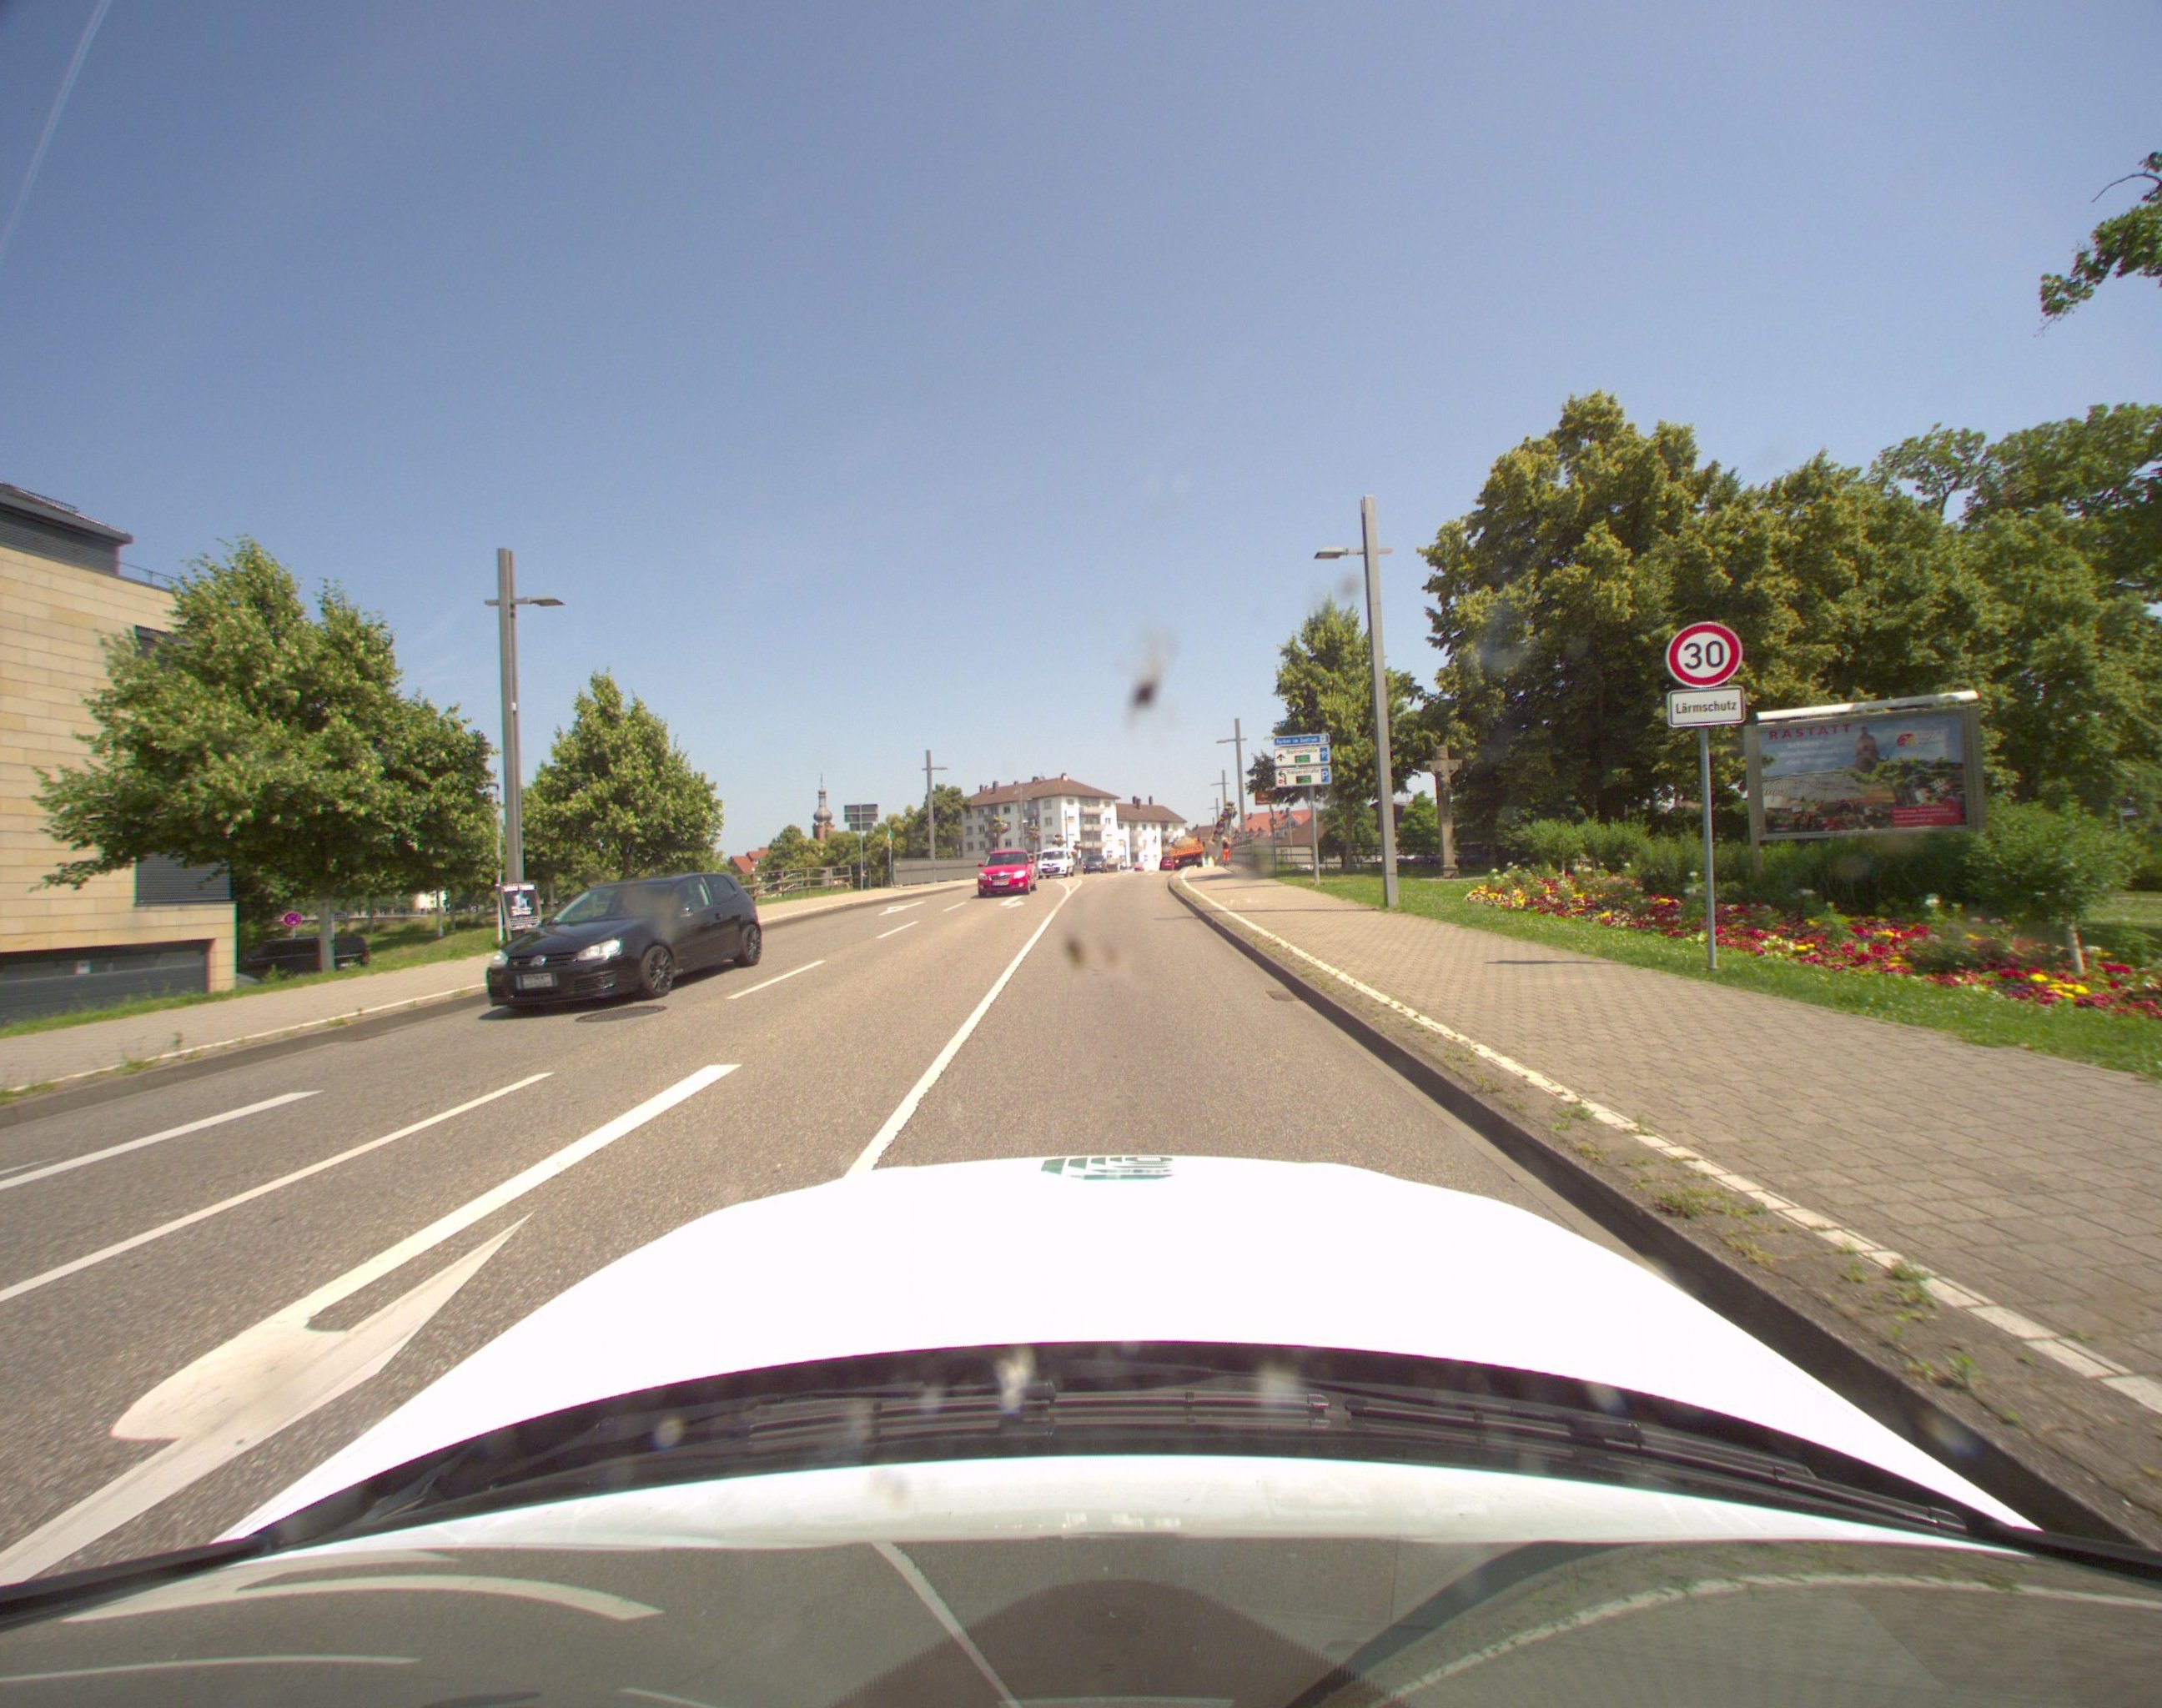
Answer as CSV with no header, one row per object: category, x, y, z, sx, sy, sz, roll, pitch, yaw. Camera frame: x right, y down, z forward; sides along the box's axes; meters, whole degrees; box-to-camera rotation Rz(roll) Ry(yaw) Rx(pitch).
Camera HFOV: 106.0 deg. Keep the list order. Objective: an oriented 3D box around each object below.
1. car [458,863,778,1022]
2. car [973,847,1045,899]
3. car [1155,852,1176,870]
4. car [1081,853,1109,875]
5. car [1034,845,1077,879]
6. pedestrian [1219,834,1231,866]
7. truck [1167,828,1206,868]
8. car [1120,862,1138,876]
car,-5.750,0.981,10.808,1.707,1.485,4.034,-4,1,2
car,-2.327,0.566,27.200,1.639,1.464,3.868,-3,2,6
car,8.570,0.735,82.043,1.980,1.613,4.350,-3,-1,6
car,1.204,0.848,68.977,1.727,1.640,3.931,-5,-1,9
car,-1.477,0.441,49.149,1.828,1.860,4.671,-4,0,6
pedestrian,8.949,-0.248,50.620,0.545,1.960,0.672,-3,-2,-1
truck,7.904,-0.395,60.717,2.591,2.691,5.836,-3,-1,8
car,5.983,1.832,100.885,1.689,1.359,4.464,3,-4,8
